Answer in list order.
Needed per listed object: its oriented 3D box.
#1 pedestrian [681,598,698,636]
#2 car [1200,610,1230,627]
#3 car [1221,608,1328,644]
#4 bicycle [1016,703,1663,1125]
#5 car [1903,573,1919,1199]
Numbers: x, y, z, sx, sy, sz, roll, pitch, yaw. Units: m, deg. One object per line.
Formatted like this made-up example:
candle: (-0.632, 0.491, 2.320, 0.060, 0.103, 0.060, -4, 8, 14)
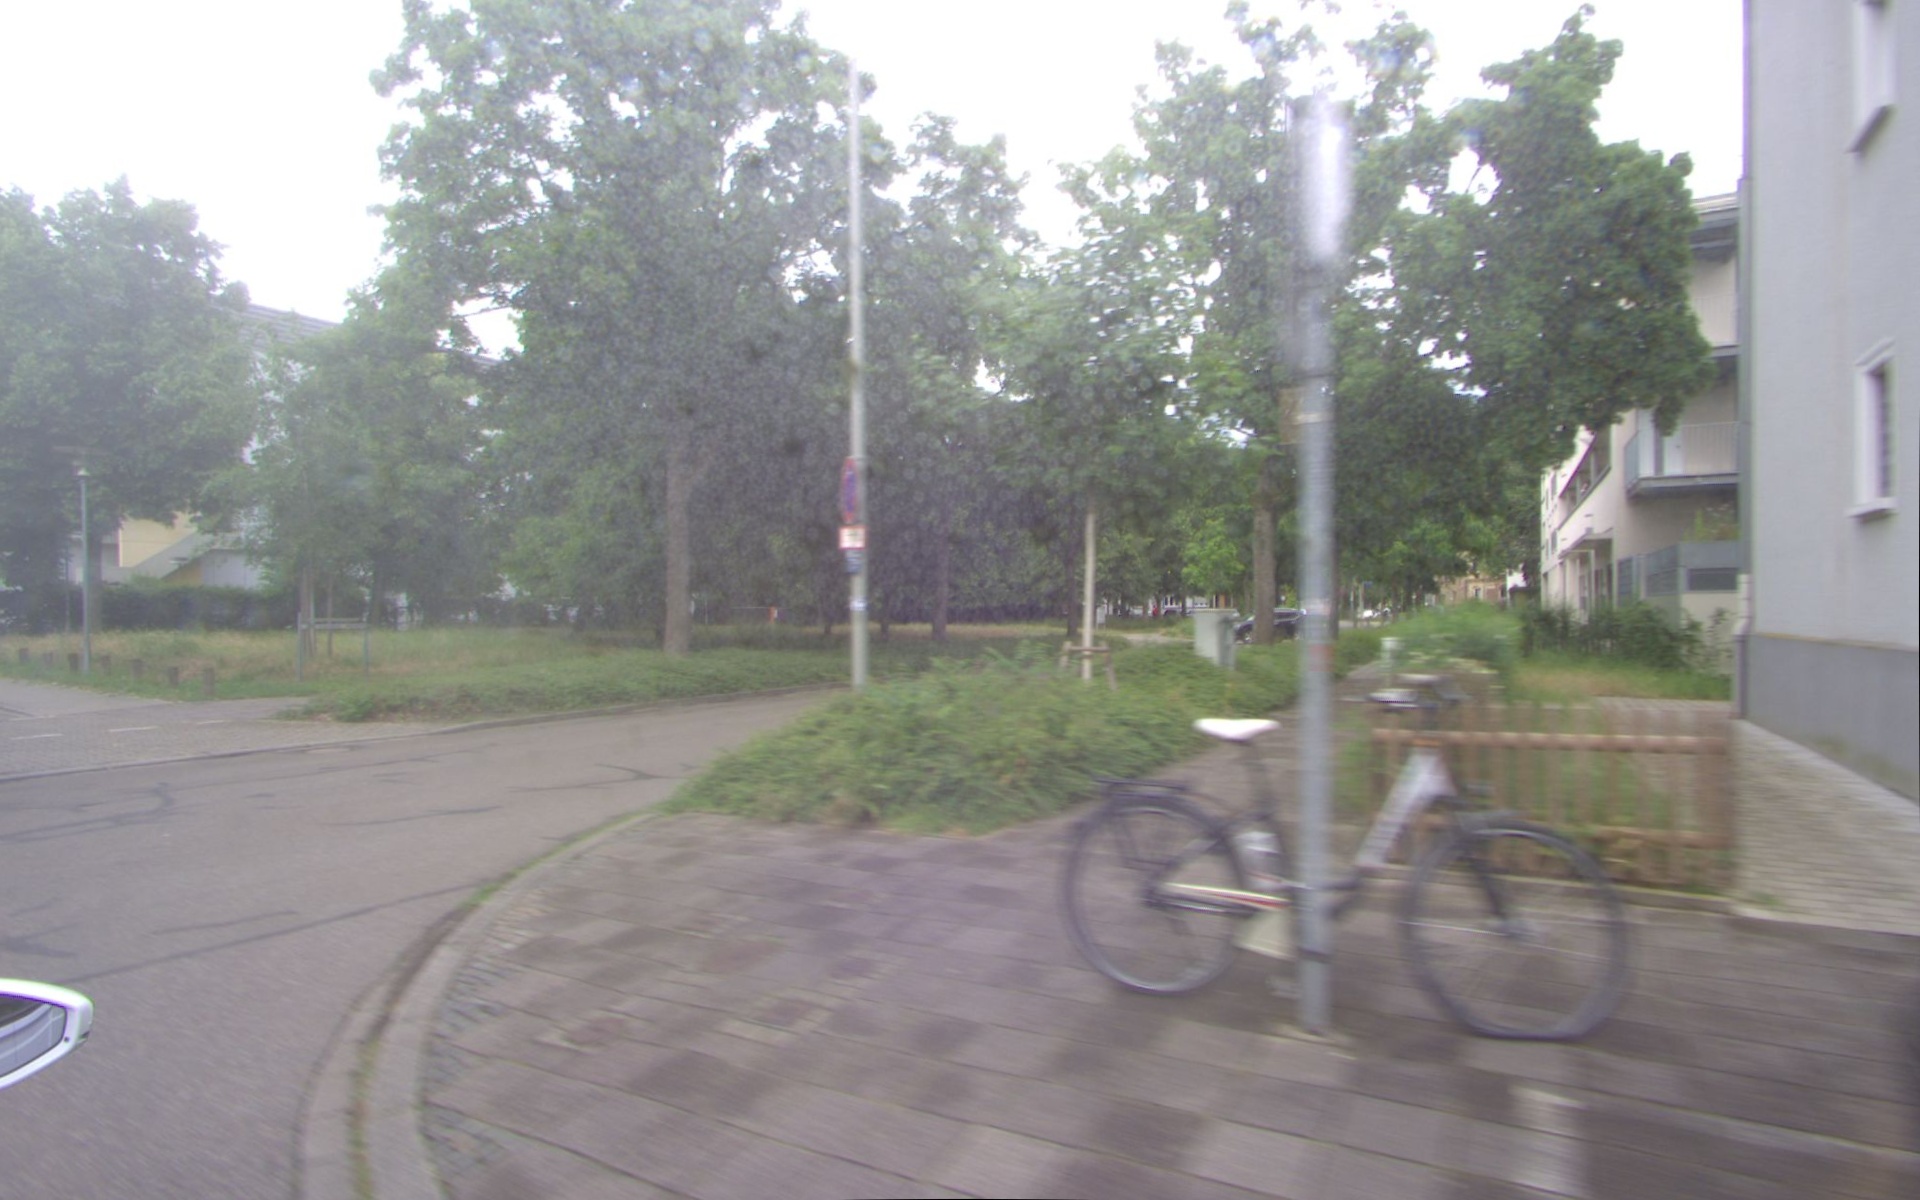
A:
pedestrian: (-12.995, 0.829, 48.143, 0.537, 1.822, 0.568, 1, 1, 41)
car: (31.122, 2.289, 122.181, 3.256, 1.949, 1.808, -1, -1, 20)
car: (14.947, 1.206, 47.693, 4.454, 1.506, 1.998, -2, 1, -10)
bicycle: (1.161, 0.894, 3.332, 1.861, 1.017, 0.566, -2, 1, 31)
car: (3.697, 0.673, 0.277, 4.654, 1.482, 1.858, 0, 1, 29)
